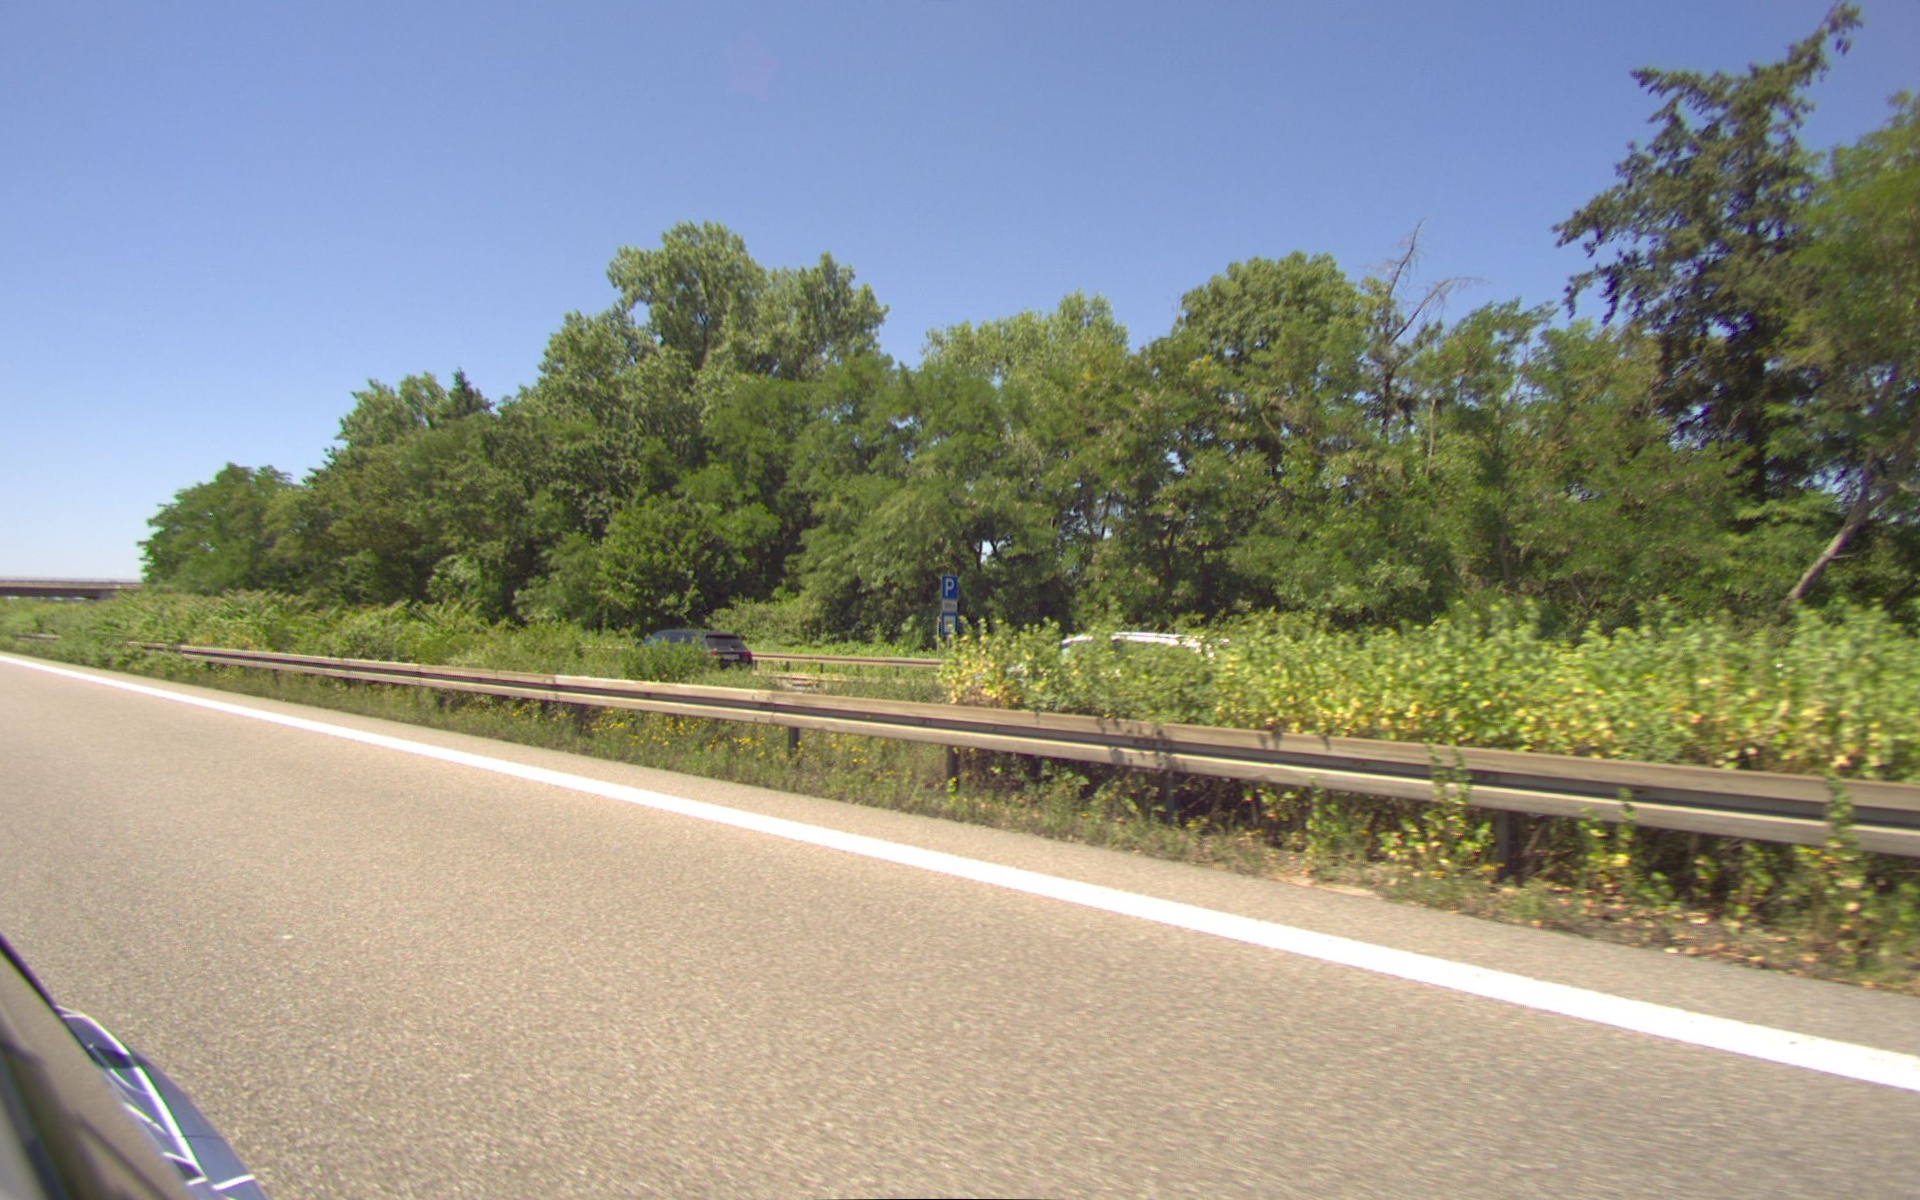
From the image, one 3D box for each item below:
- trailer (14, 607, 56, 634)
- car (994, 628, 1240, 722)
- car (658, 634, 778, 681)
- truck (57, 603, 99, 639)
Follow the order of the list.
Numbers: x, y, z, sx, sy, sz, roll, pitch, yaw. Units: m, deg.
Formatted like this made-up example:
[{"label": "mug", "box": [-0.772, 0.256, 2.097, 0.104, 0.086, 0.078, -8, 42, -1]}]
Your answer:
[{"label": "trailer", "box": [-125.004, 2.847, 136.643, 14.147, 3.443, 2.560, -2, 0, 41]}, {"label": "car", "box": [2.029, 0.927, 13.415, 2.940, 1.060, 1.376, -2, 0, 41]}, {"label": "car", "box": [-6.316, 1.452, 26.266, 3.152, 1.081, 1.472, -2, 0, 41]}, {"label": "truck", "box": [-94.258, 2.243, 108.154, 6.826, 3.733, 2.563, -2, 0, 42]}]
